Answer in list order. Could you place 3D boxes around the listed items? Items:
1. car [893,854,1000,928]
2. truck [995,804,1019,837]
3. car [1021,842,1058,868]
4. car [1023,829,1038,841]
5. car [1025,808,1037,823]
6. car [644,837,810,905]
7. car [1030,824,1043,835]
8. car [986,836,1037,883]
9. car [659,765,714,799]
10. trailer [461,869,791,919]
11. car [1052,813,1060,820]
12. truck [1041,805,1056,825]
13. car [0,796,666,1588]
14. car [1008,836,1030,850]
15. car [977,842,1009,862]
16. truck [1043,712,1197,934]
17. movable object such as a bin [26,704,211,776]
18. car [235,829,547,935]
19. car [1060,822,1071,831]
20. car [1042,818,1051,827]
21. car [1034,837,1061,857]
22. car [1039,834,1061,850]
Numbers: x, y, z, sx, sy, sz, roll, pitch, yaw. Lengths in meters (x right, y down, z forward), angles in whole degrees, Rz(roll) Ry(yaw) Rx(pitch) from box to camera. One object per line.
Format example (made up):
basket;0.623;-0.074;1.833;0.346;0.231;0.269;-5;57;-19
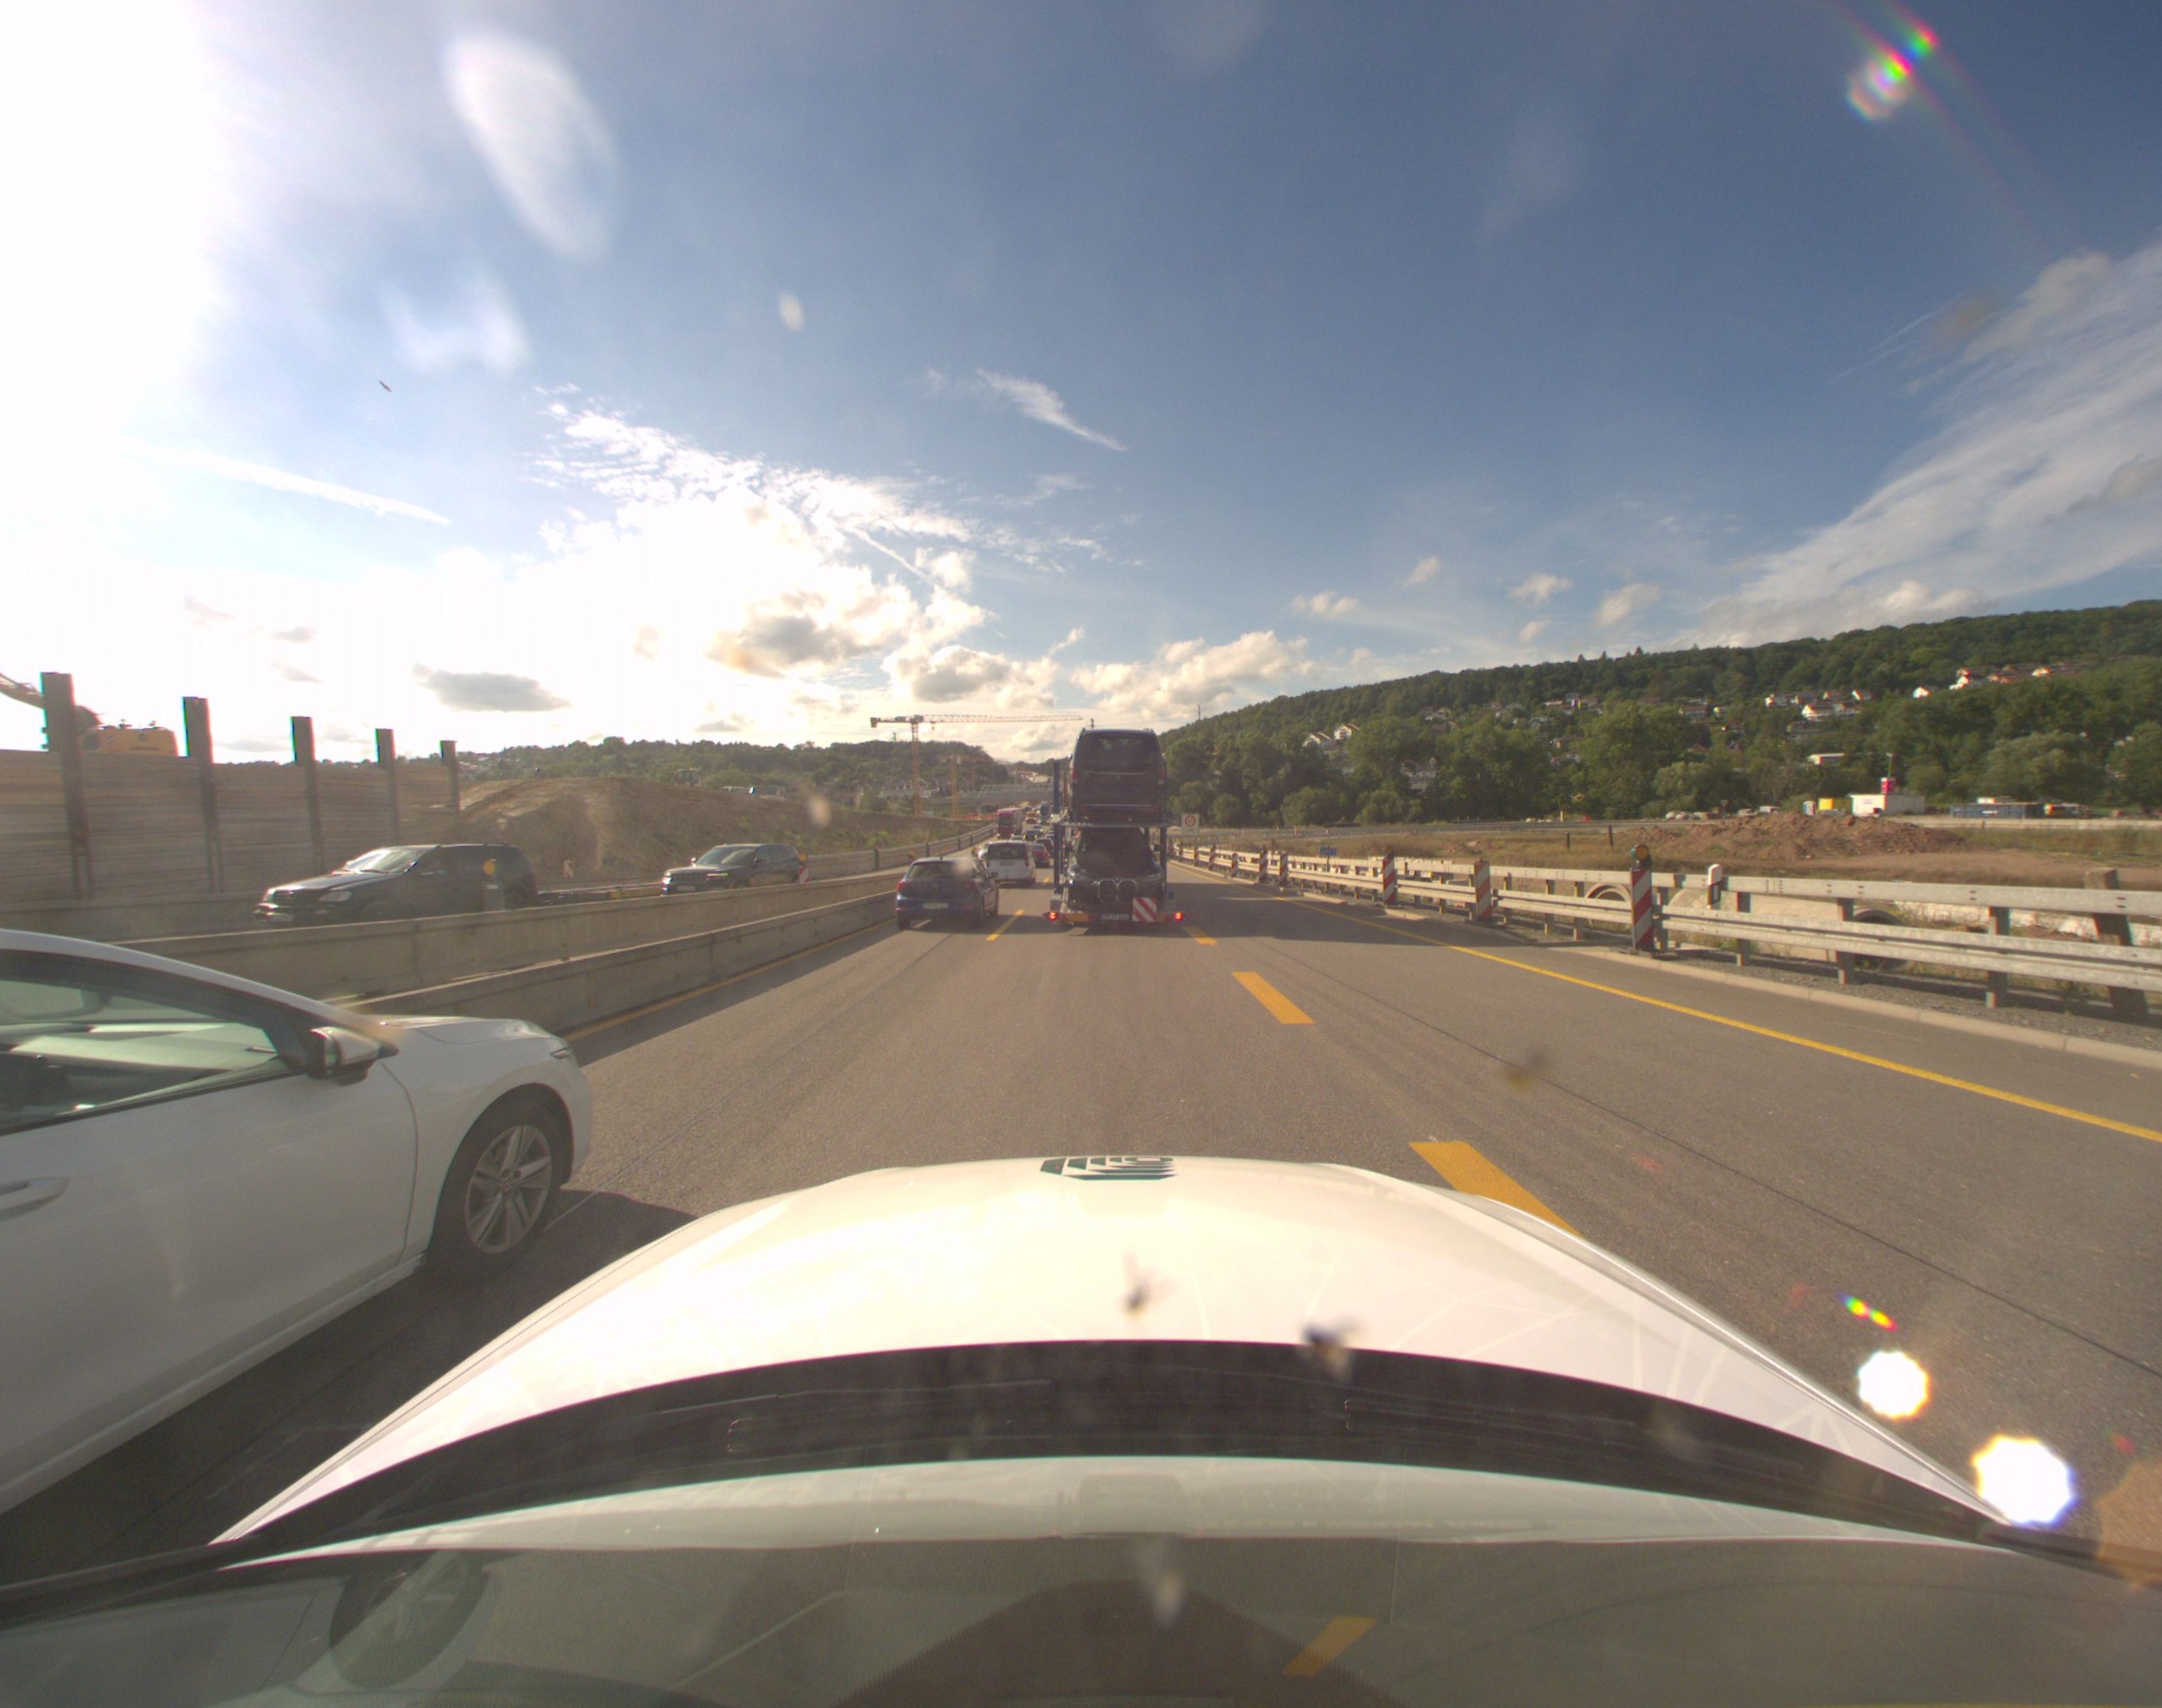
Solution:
car;-2.785;0.722;17.663;1.717;1.422;3.998;0;-1;-1
truck;-10.396;-4.668;115.389;2.906;4.386;6.283;1;1;-2
car;-2.579;0.096;51.275;1.986;1.556;4.402;0;-1;2
car;-6.626;-2.475;107.603;1.816;1.440;4.612;0;1;-1
car;-10.417;-7.939;169.671;1.986;2.879;6.065;0;1;1
car;-9.334;0.390;21.973;1.842;1.635;4.760;0;1;8
car;-6.884;-3.846;126.547;1.840;1.648;4.501;0;1;-2
car;-2.736;0.230;32.647;1.818;1.792;3.996;0;-1;-2
car;-33.630;-6.105;69.630;1.987;2.140;5.320;-5;-1;0
trailer;-12.149;0.994;23.529;2.337;0.939;10.356;0;0;9
car;-6.343;-9.691;209.849;1.987;1.684;3.999;0;-1;0
truck;-9.117;-10.750;227.841;2.810;4.788;13.066;0;-1;4
car;-2.932;0.662;1.597;1.763;1.491;4.518;-2;-1;2
car;-6.385;-1.106;84.033;1.747;1.440;3.807;0;1;2
car;-6.586;-0.195;61.495;1.846;1.440;4.560;0;1;1
truck;0.674;-0.679;23.993;2.744;3.954;18.886;0;1;0
movable object such as a bin;-54.656;-6.366;46.399;5.708;3.270;4.525;0;-1;12
car;-13.334;0.515;16.201;1.981;1.804;4.456;0;-1;9
car;-2.885;-5.082;151.258;1.840;1.648;4.501;0;1;-2
car;-6.753;-6.245;160.257;1.840;1.648;4.233;0;1;-3
car;-2.758;-0.555;67.254;1.986;1.552;4.000;0;-1;1
car;-3.164;-1.247;84.537;1.986;1.665;4.002;0;1;1
